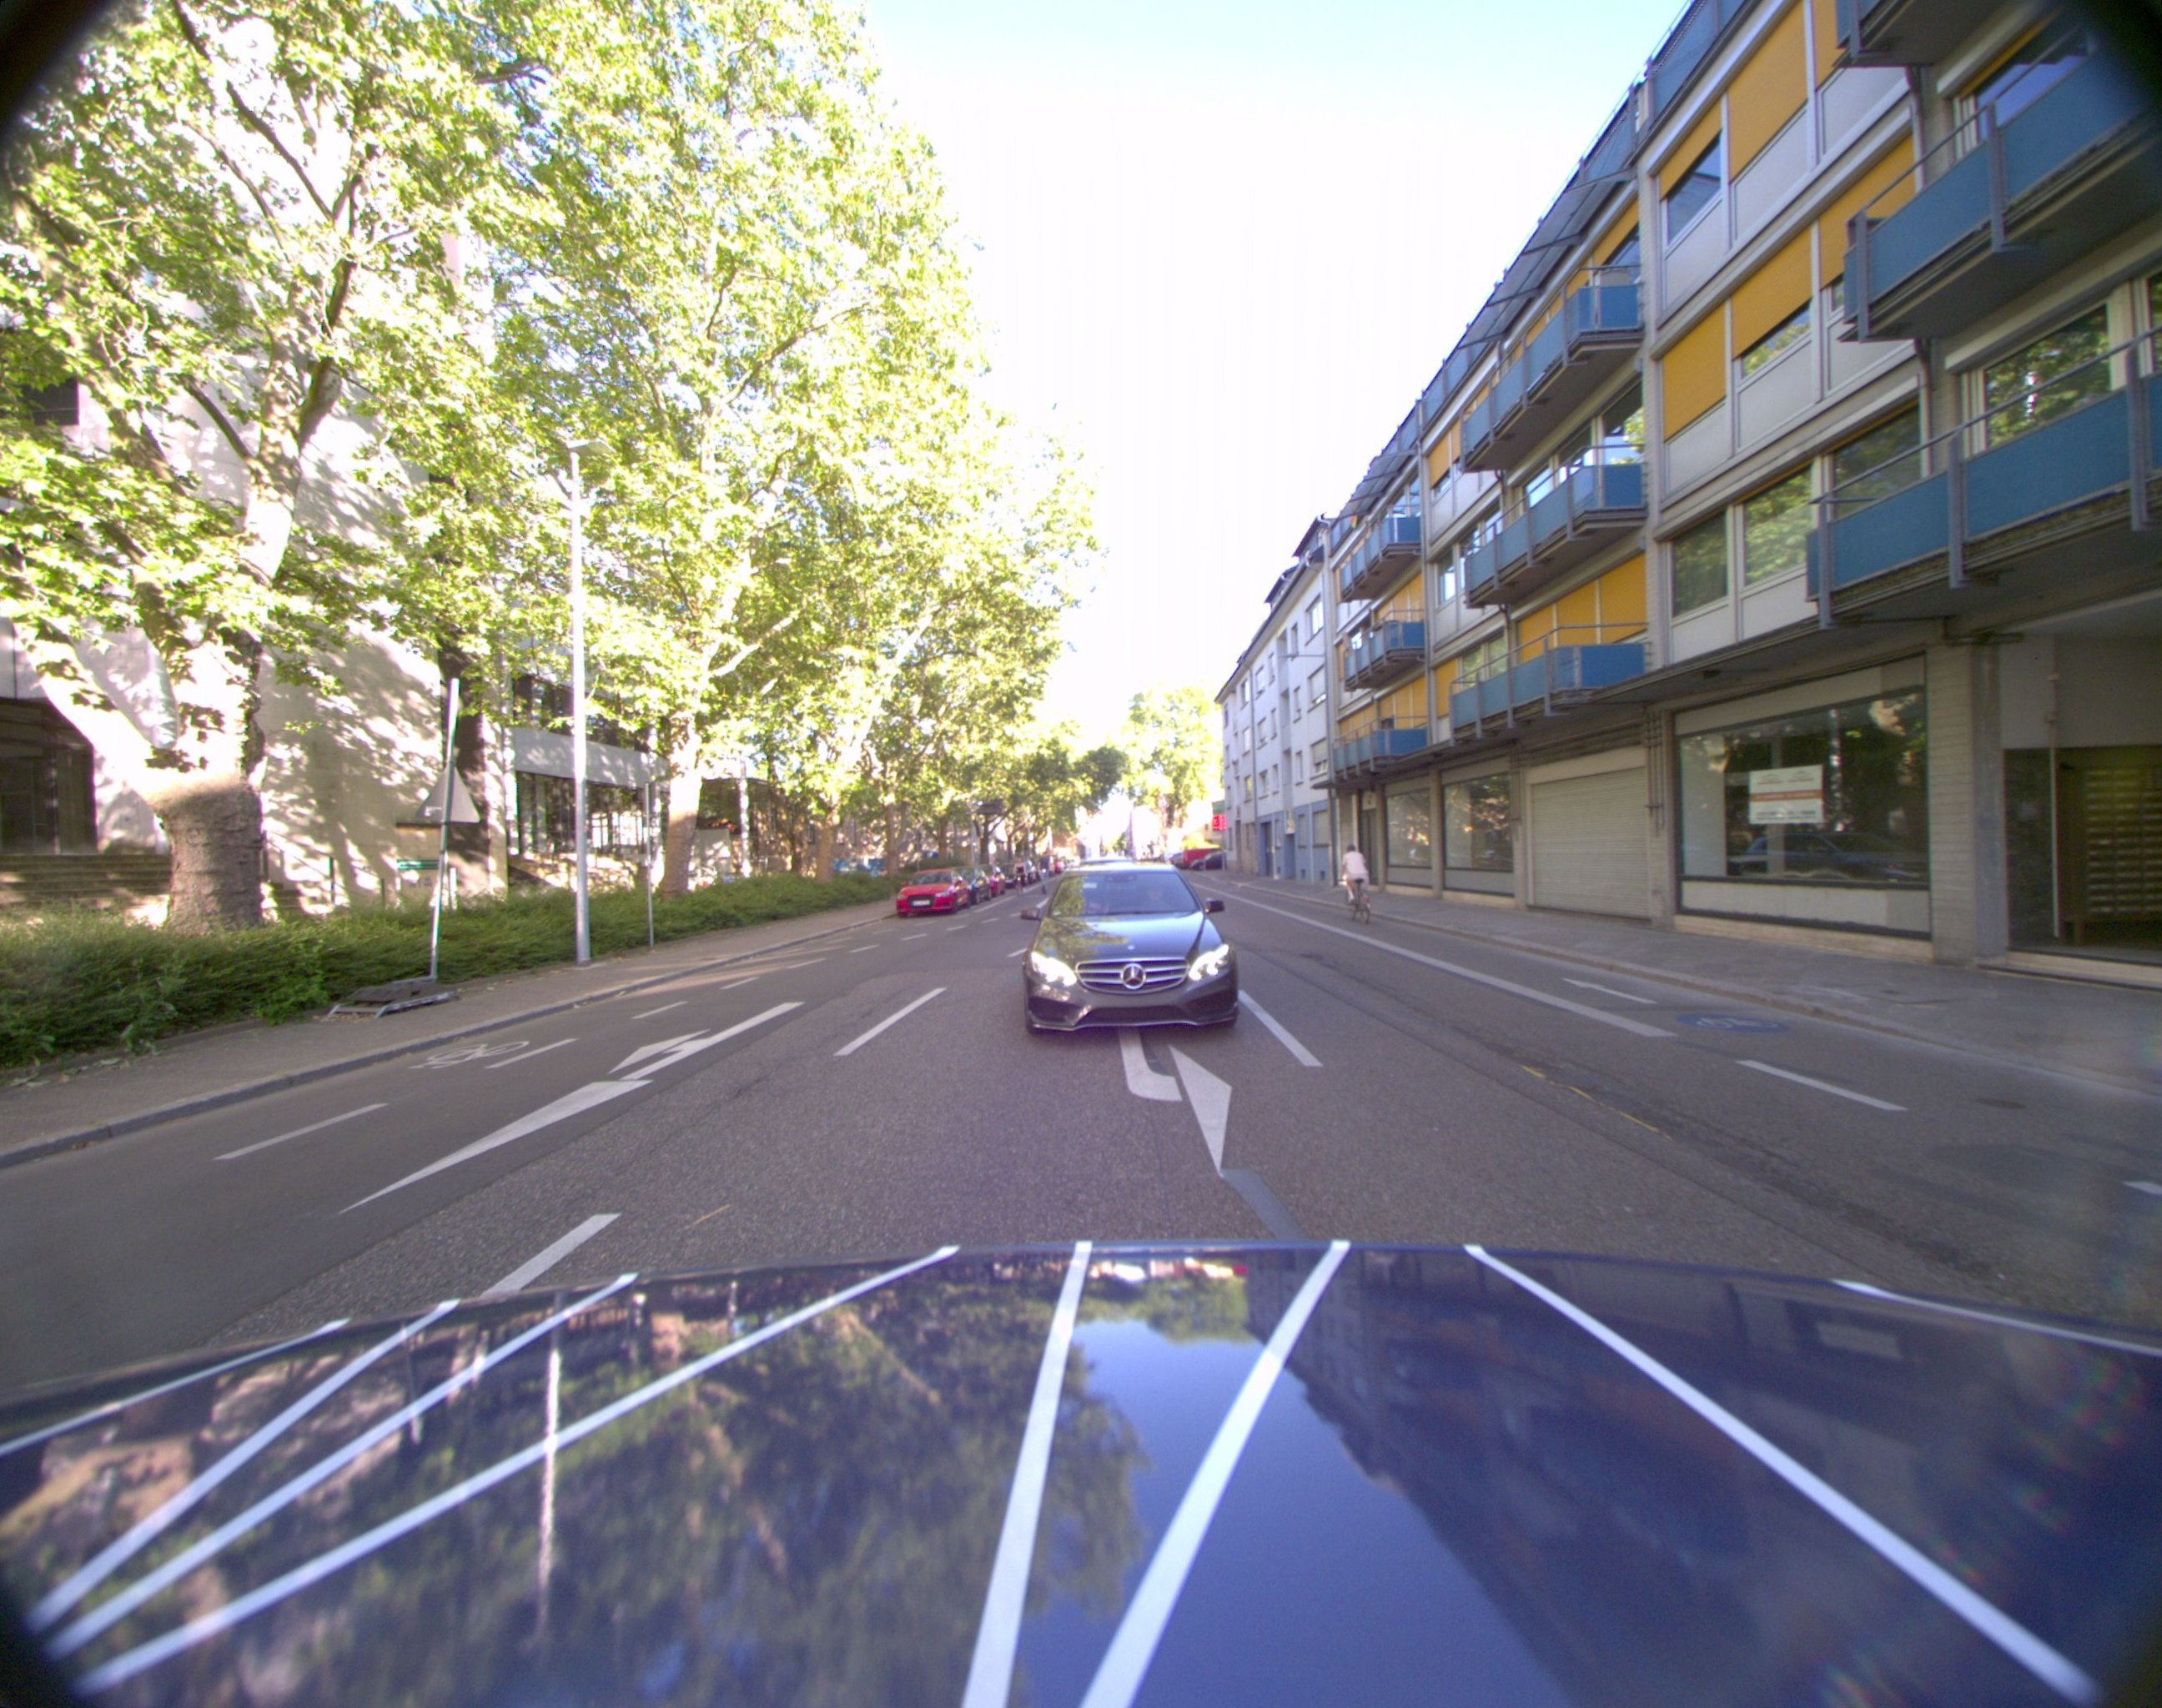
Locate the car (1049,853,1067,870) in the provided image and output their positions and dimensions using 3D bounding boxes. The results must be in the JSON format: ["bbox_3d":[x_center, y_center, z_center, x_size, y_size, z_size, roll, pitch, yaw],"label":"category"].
[{"bbox_3d":[-2.537,0.765,82.983,1.686,1.749,3.837,-2,0,1],"label":"car"}]

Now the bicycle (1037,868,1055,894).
[{"bbox_3d":[-1.595,1.202,34.484,0.667,1.093,1.814,-3,1,1],"label":"bicycle"}]

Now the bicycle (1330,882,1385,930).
[{"bbox_3d":[5.978,1.104,16.526,0.549,0.886,1.868,-3,1,2],"label":"bicycle"}]

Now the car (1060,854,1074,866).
[{"bbox_3d":[-1.861,0.754,102.645,1.686,1.546,3.837,-2,0,1],"label":"car"}]

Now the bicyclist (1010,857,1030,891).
[{"bbox_3d":[-2.772,0.897,34.421,0.755,1.512,0.768,-3,1,0],"label":"bicyclist"}]

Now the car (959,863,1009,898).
[{"bbox_3d":[-4.352,1.160,34.589,1.666,1.426,3.781,-2,0,1],"label":"car"}]

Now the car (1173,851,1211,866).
[{"bbox_3d":[11.908,0.460,81.659,3.905,1.366,1.595,-3,1,3],"label":"car"}]

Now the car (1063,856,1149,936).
[{"bbox_3d":[0.553,0.885,18.069,1.732,1.538,4.294,-3,1,1],"label":"car"}]

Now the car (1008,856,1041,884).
[{"bbox_3d":[-3.611,0.991,49.039,1.686,1.610,3.837,-2,0,1],"label":"car"}]

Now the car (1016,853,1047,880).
[{"bbox_3d":[-3.554,0.865,55.166,1.819,1.758,4.431,-2,0,1],"label":"car"}]

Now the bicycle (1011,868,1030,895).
[{"bbox_3d":[-2.730,1.244,34.425,0.667,1.093,1.814,-3,1,1],"label":"bicycle"}]

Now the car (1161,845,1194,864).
[{"bbox_3d":[12.202,0.054,96.001,3.905,2.164,1.725,-3,1,3],"label":"car"}]

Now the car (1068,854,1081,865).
[{"bbox_3d":[-0.989,0.817,113.774,1.686,1.475,3.837,-2,0,1],"label":"car"}]

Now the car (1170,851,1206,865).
[{"bbox_3d":[12.145,0.441,86.432,3.905,1.325,1.526,-3,1,3],"label":"car"}]

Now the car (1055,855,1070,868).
[{"bbox_3d":[-2.283,0.891,94.027,1.639,1.493,3.753,-2,0,1],"label":"car"}]

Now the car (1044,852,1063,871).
[{"bbox_3d":[-2.800,0.712,77.196,1.645,1.839,3.837,-2,0,1],"label":"car"}]

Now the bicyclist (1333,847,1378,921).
[{"bbox_3d":[5.958,0.633,16.534,0.650,1.549,0.807,-3,1,1],"label":"bicyclist"}]

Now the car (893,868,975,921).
[{"bbox_3d":[-4.660,1.242,24.649,1.724,1.412,4.031,-4,0,1],"label":"car"}]

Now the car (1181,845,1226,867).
[{"bbox_3d":[11.401,0.160,70.680,3.905,1.895,1.750,-2,0,3],"label":"car"}]

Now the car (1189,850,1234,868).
[{"bbox_3d":[11.191,0.445,65.432,3.598,1.401,1.535,-3,0,3],"label":"car"}]

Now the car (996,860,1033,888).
[{"bbox_3d":[-3.826,1.125,44.383,1.686,1.442,4.000,-2,0,1],"label":"car"}]

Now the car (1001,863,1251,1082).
[{"bbox_3d":[0.371,0.927,7.899,1.828,1.495,4.294,-3,1,1],"label":"car"}]

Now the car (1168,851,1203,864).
[{"bbox_3d":[12.199,0.418,88.820,3.905,1.325,1.526,-3,1,3],"label":"car"}]

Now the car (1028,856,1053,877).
[{"bbox_3d":[-3.266,0.976,61.486,1.686,1.552,3.868,-2,0,1],"label":"car"}]

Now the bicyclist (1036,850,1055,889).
[{"bbox_3d":[-1.611,0.693,34.433,0.755,1.714,0.768,-3,1,0],"label":"bicyclist"}]

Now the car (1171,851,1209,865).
[{"bbox_3d":[11.977,0.439,83.680,3.905,1.366,1.595,-3,1,3],"label":"car"}]

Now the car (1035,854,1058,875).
[{"bbox_3d":[-2.967,0.859,66.338,1.663,1.704,3.837,-2,0,1],"label":"car"}]

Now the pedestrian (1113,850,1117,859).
[{"bbox_3d":[8.602,0.118,191.050,0.884,2.108,0.821,-3,1,2],"label":"pedestrian"}]

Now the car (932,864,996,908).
[{"bbox_3d":[-4.453,1.187,29.405,1.686,1.458,4.000,-3,0,1],"label":"car"}]

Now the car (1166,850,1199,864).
[{"bbox_3d":[12.260,0.354,91.505,3.782,1.432,1.539,-3,1,3],"label":"car"}]

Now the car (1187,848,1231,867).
[{"bbox_3d":[11.404,0.347,67.834,3.667,1.501,1.602,-3,1,3],"label":"car"}]

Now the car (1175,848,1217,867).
[{"bbox_3d":[11.096,0.332,73.481,3.905,1.577,1.604,-3,1,3],"label":"car"}]
